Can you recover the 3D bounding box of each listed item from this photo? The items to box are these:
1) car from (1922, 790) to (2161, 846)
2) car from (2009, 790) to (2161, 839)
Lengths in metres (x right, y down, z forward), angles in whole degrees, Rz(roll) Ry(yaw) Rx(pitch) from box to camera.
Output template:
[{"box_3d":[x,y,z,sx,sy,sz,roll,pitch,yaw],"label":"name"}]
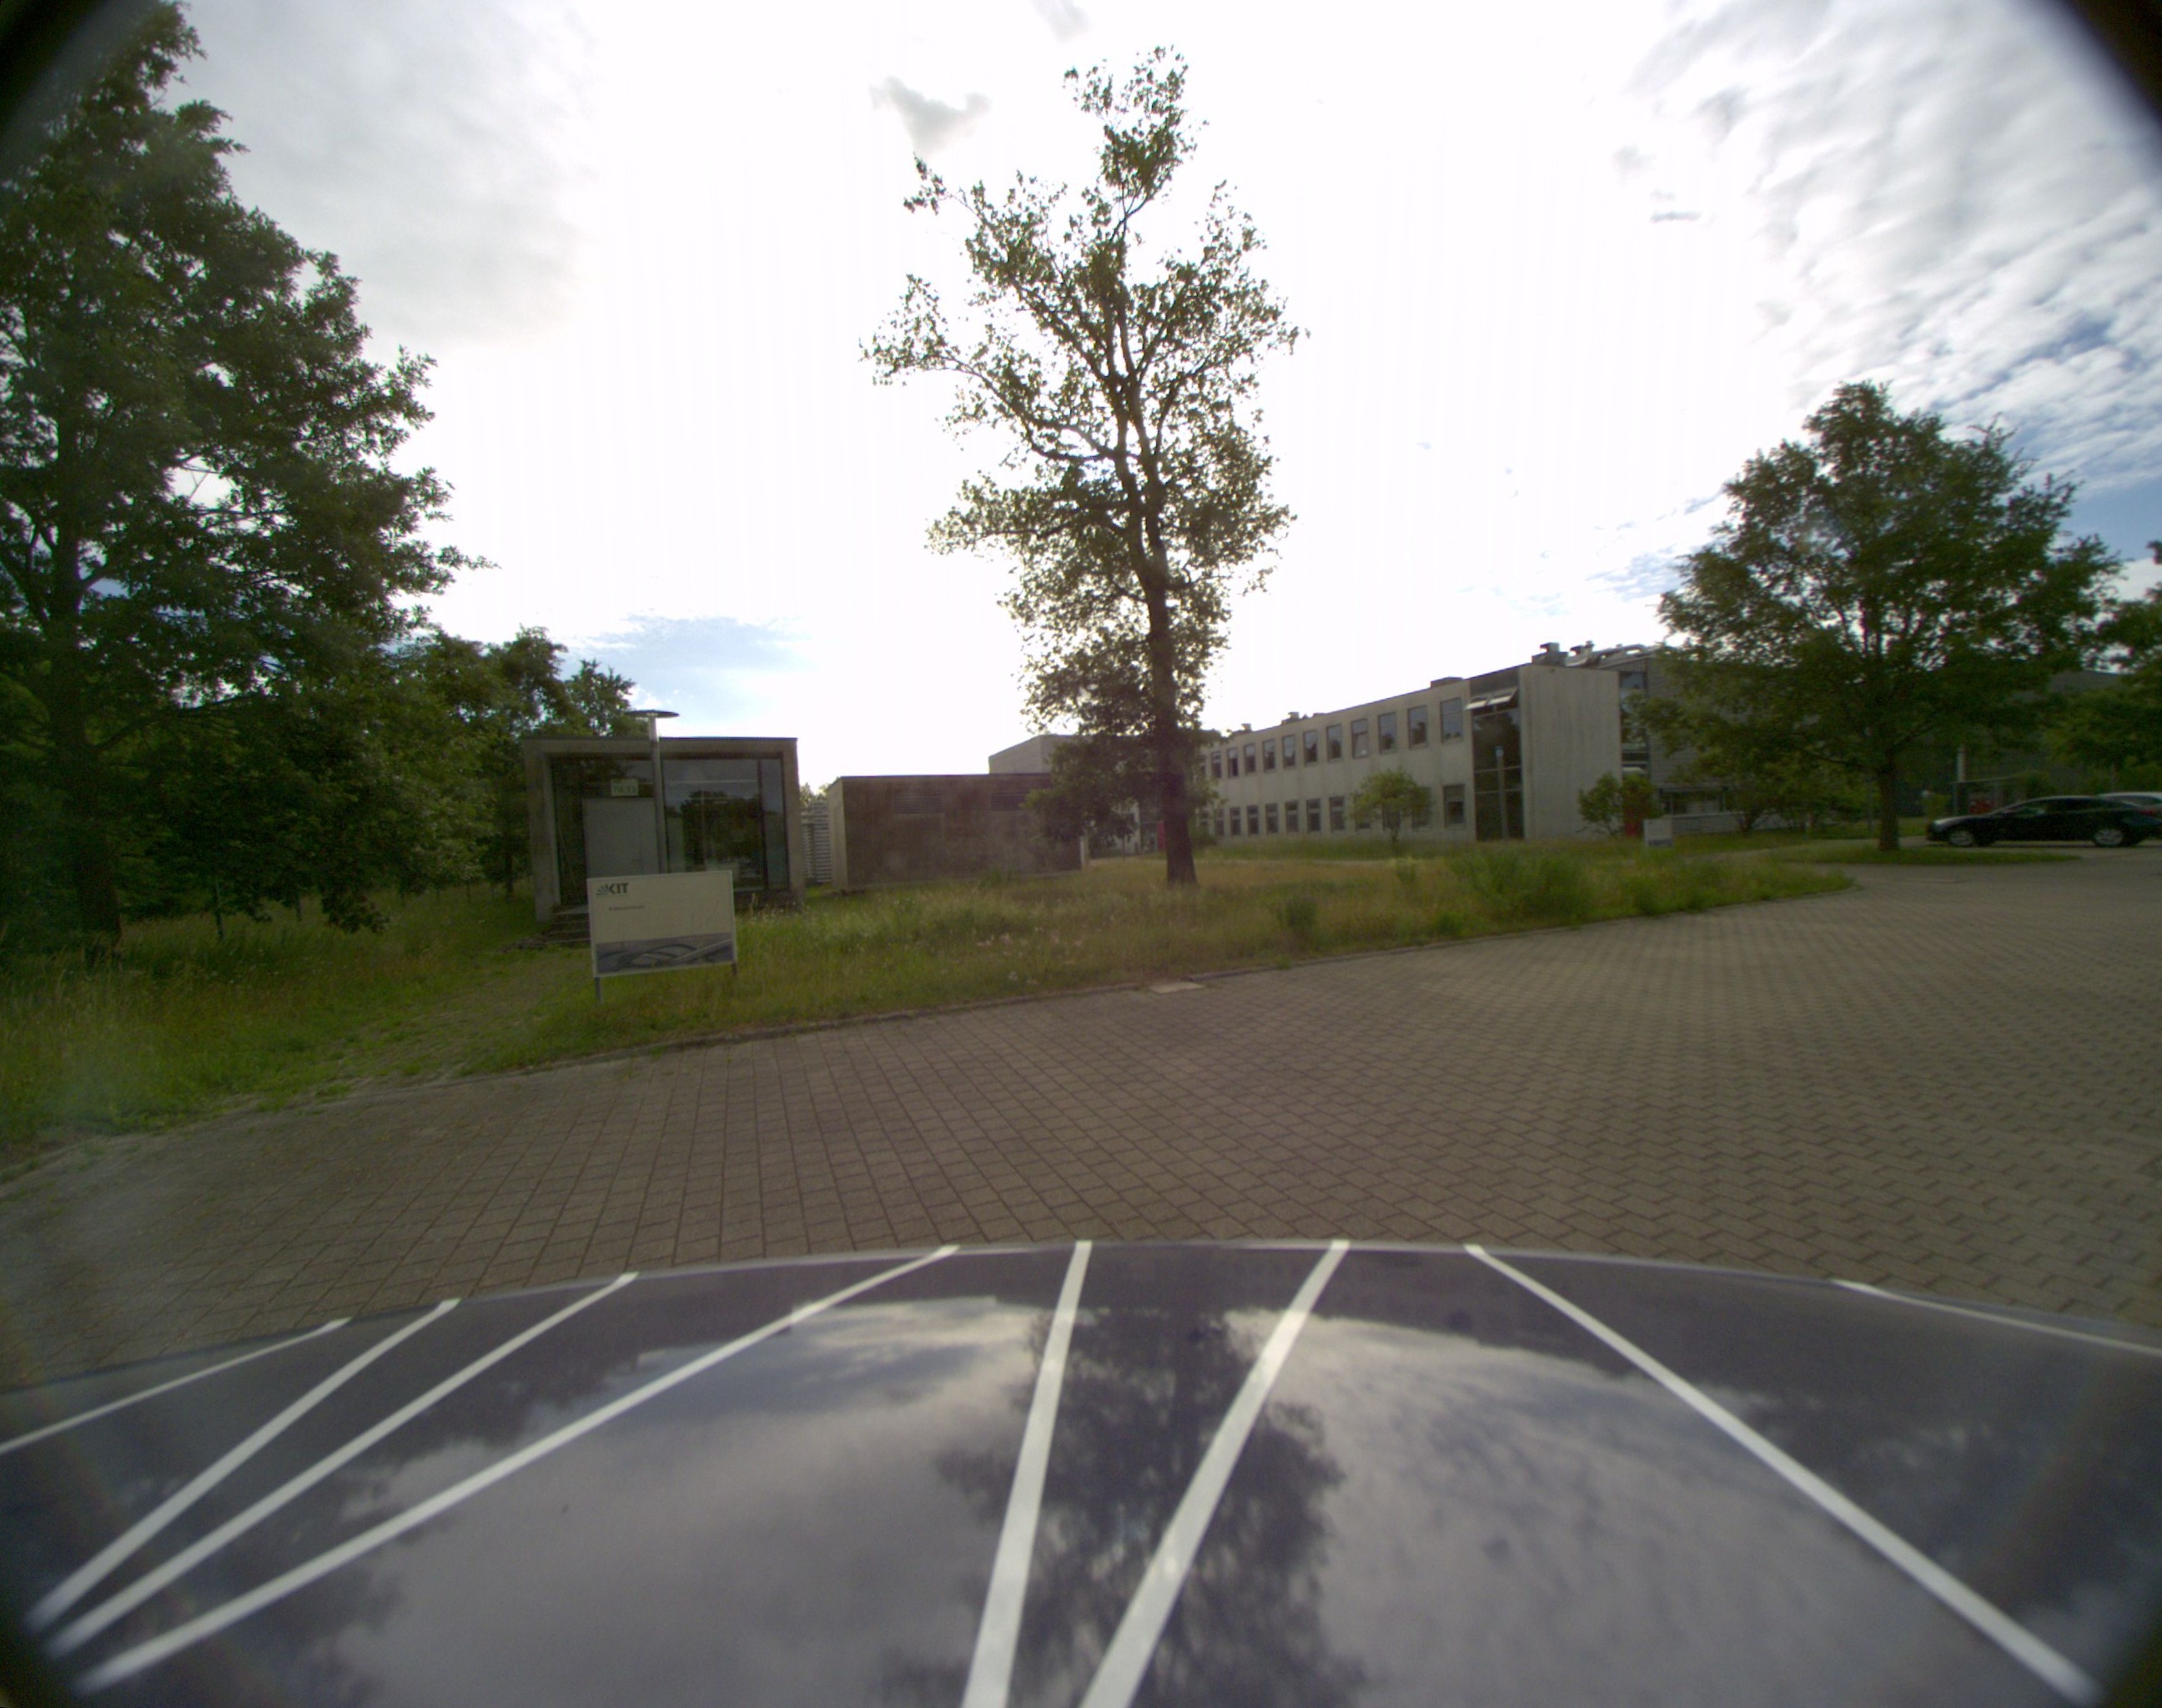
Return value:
[{"box_3d":[28.178,-1.040,22.181,1.946,1.439,4.468,-3,3,-24],"label":"car"},{"box_3d":[33.126,-1.261,24.318,1.884,1.458,3.980,-3,2,-24],"label":"car"}]
